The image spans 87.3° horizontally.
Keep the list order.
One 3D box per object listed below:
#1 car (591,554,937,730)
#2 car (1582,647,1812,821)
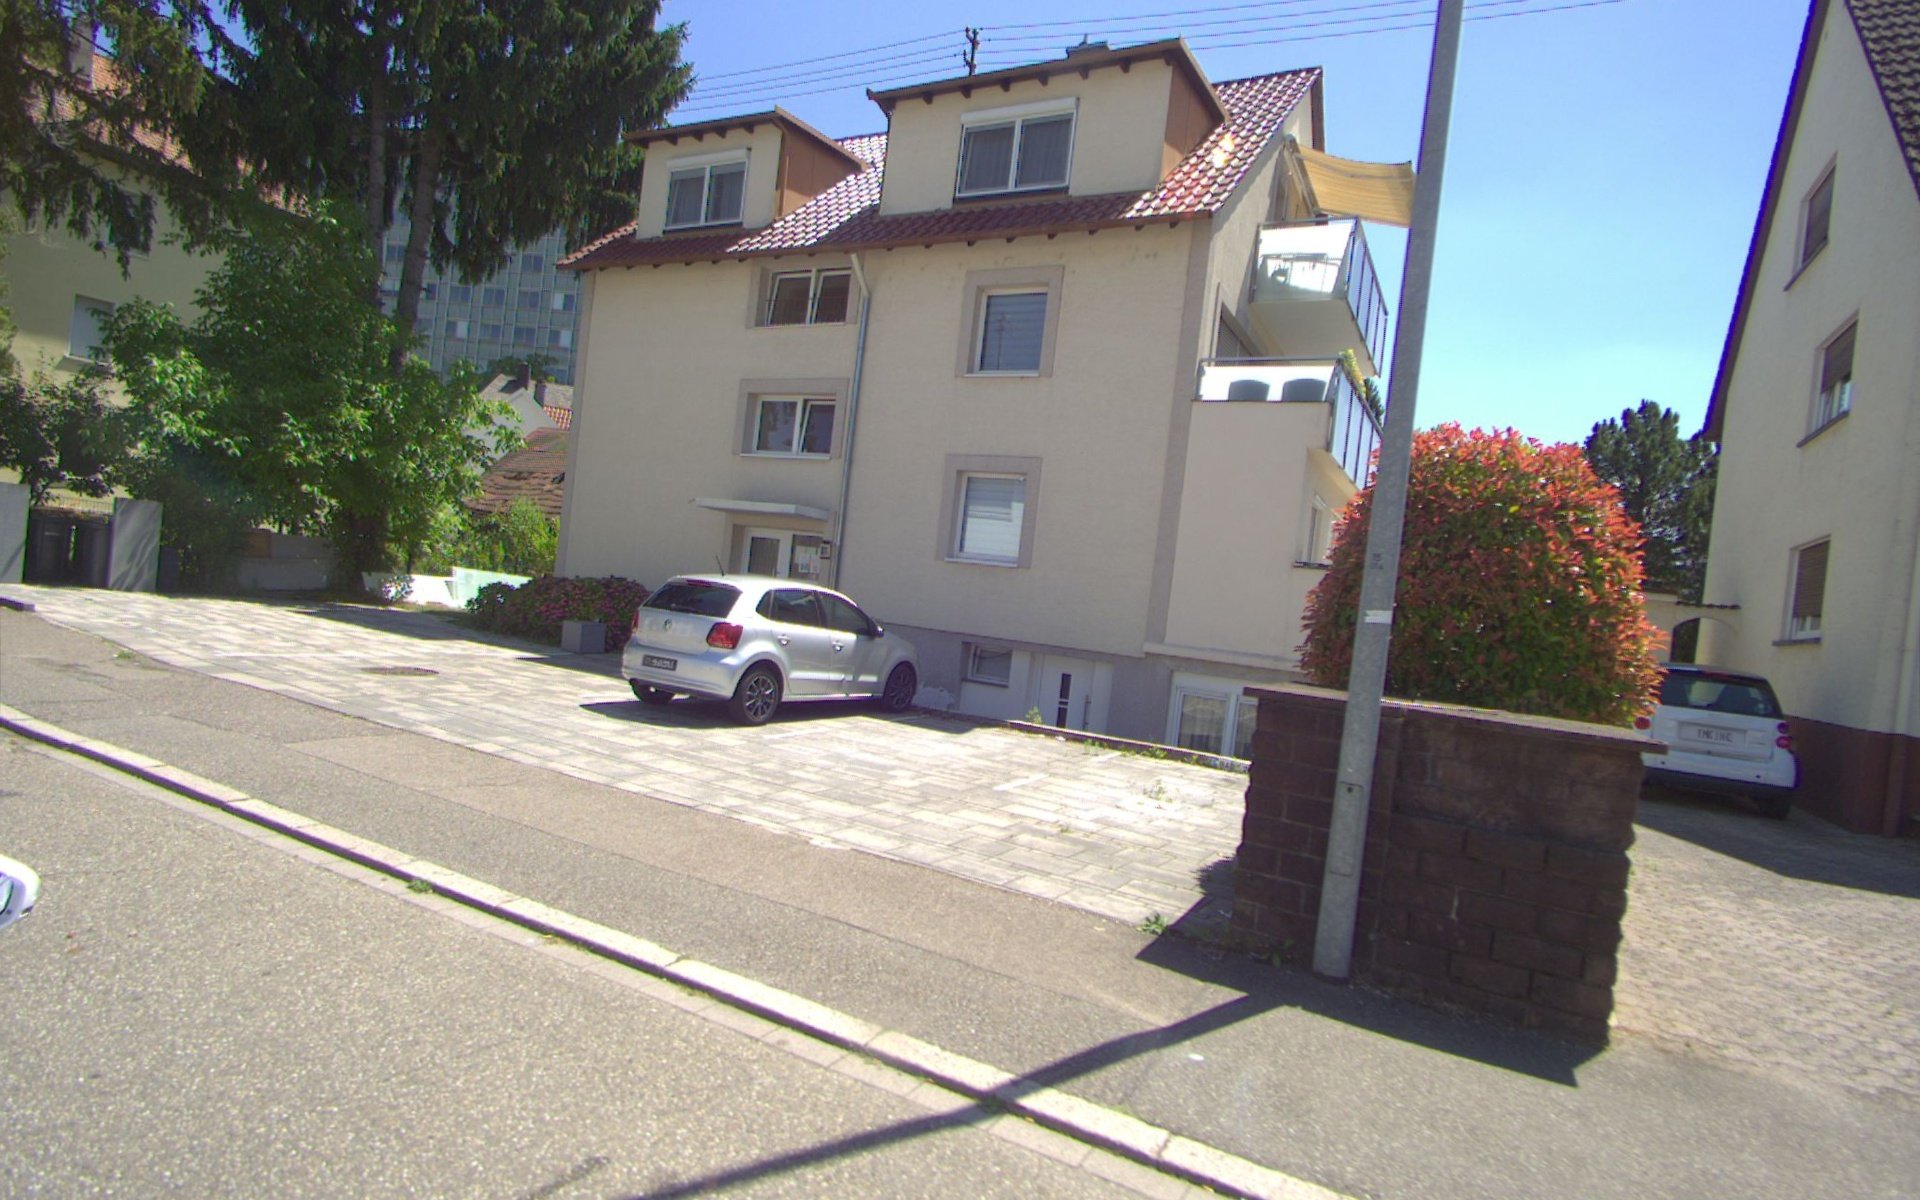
[{"bbox_3d":[-2.018,0.506,11.334,1.748,1.548,3.624,5,-1,31],"label":"car"},{"bbox_3d":[8.770,1.487,12.258,1.542,1.573,3.152,7,2,26],"label":"car"}]
